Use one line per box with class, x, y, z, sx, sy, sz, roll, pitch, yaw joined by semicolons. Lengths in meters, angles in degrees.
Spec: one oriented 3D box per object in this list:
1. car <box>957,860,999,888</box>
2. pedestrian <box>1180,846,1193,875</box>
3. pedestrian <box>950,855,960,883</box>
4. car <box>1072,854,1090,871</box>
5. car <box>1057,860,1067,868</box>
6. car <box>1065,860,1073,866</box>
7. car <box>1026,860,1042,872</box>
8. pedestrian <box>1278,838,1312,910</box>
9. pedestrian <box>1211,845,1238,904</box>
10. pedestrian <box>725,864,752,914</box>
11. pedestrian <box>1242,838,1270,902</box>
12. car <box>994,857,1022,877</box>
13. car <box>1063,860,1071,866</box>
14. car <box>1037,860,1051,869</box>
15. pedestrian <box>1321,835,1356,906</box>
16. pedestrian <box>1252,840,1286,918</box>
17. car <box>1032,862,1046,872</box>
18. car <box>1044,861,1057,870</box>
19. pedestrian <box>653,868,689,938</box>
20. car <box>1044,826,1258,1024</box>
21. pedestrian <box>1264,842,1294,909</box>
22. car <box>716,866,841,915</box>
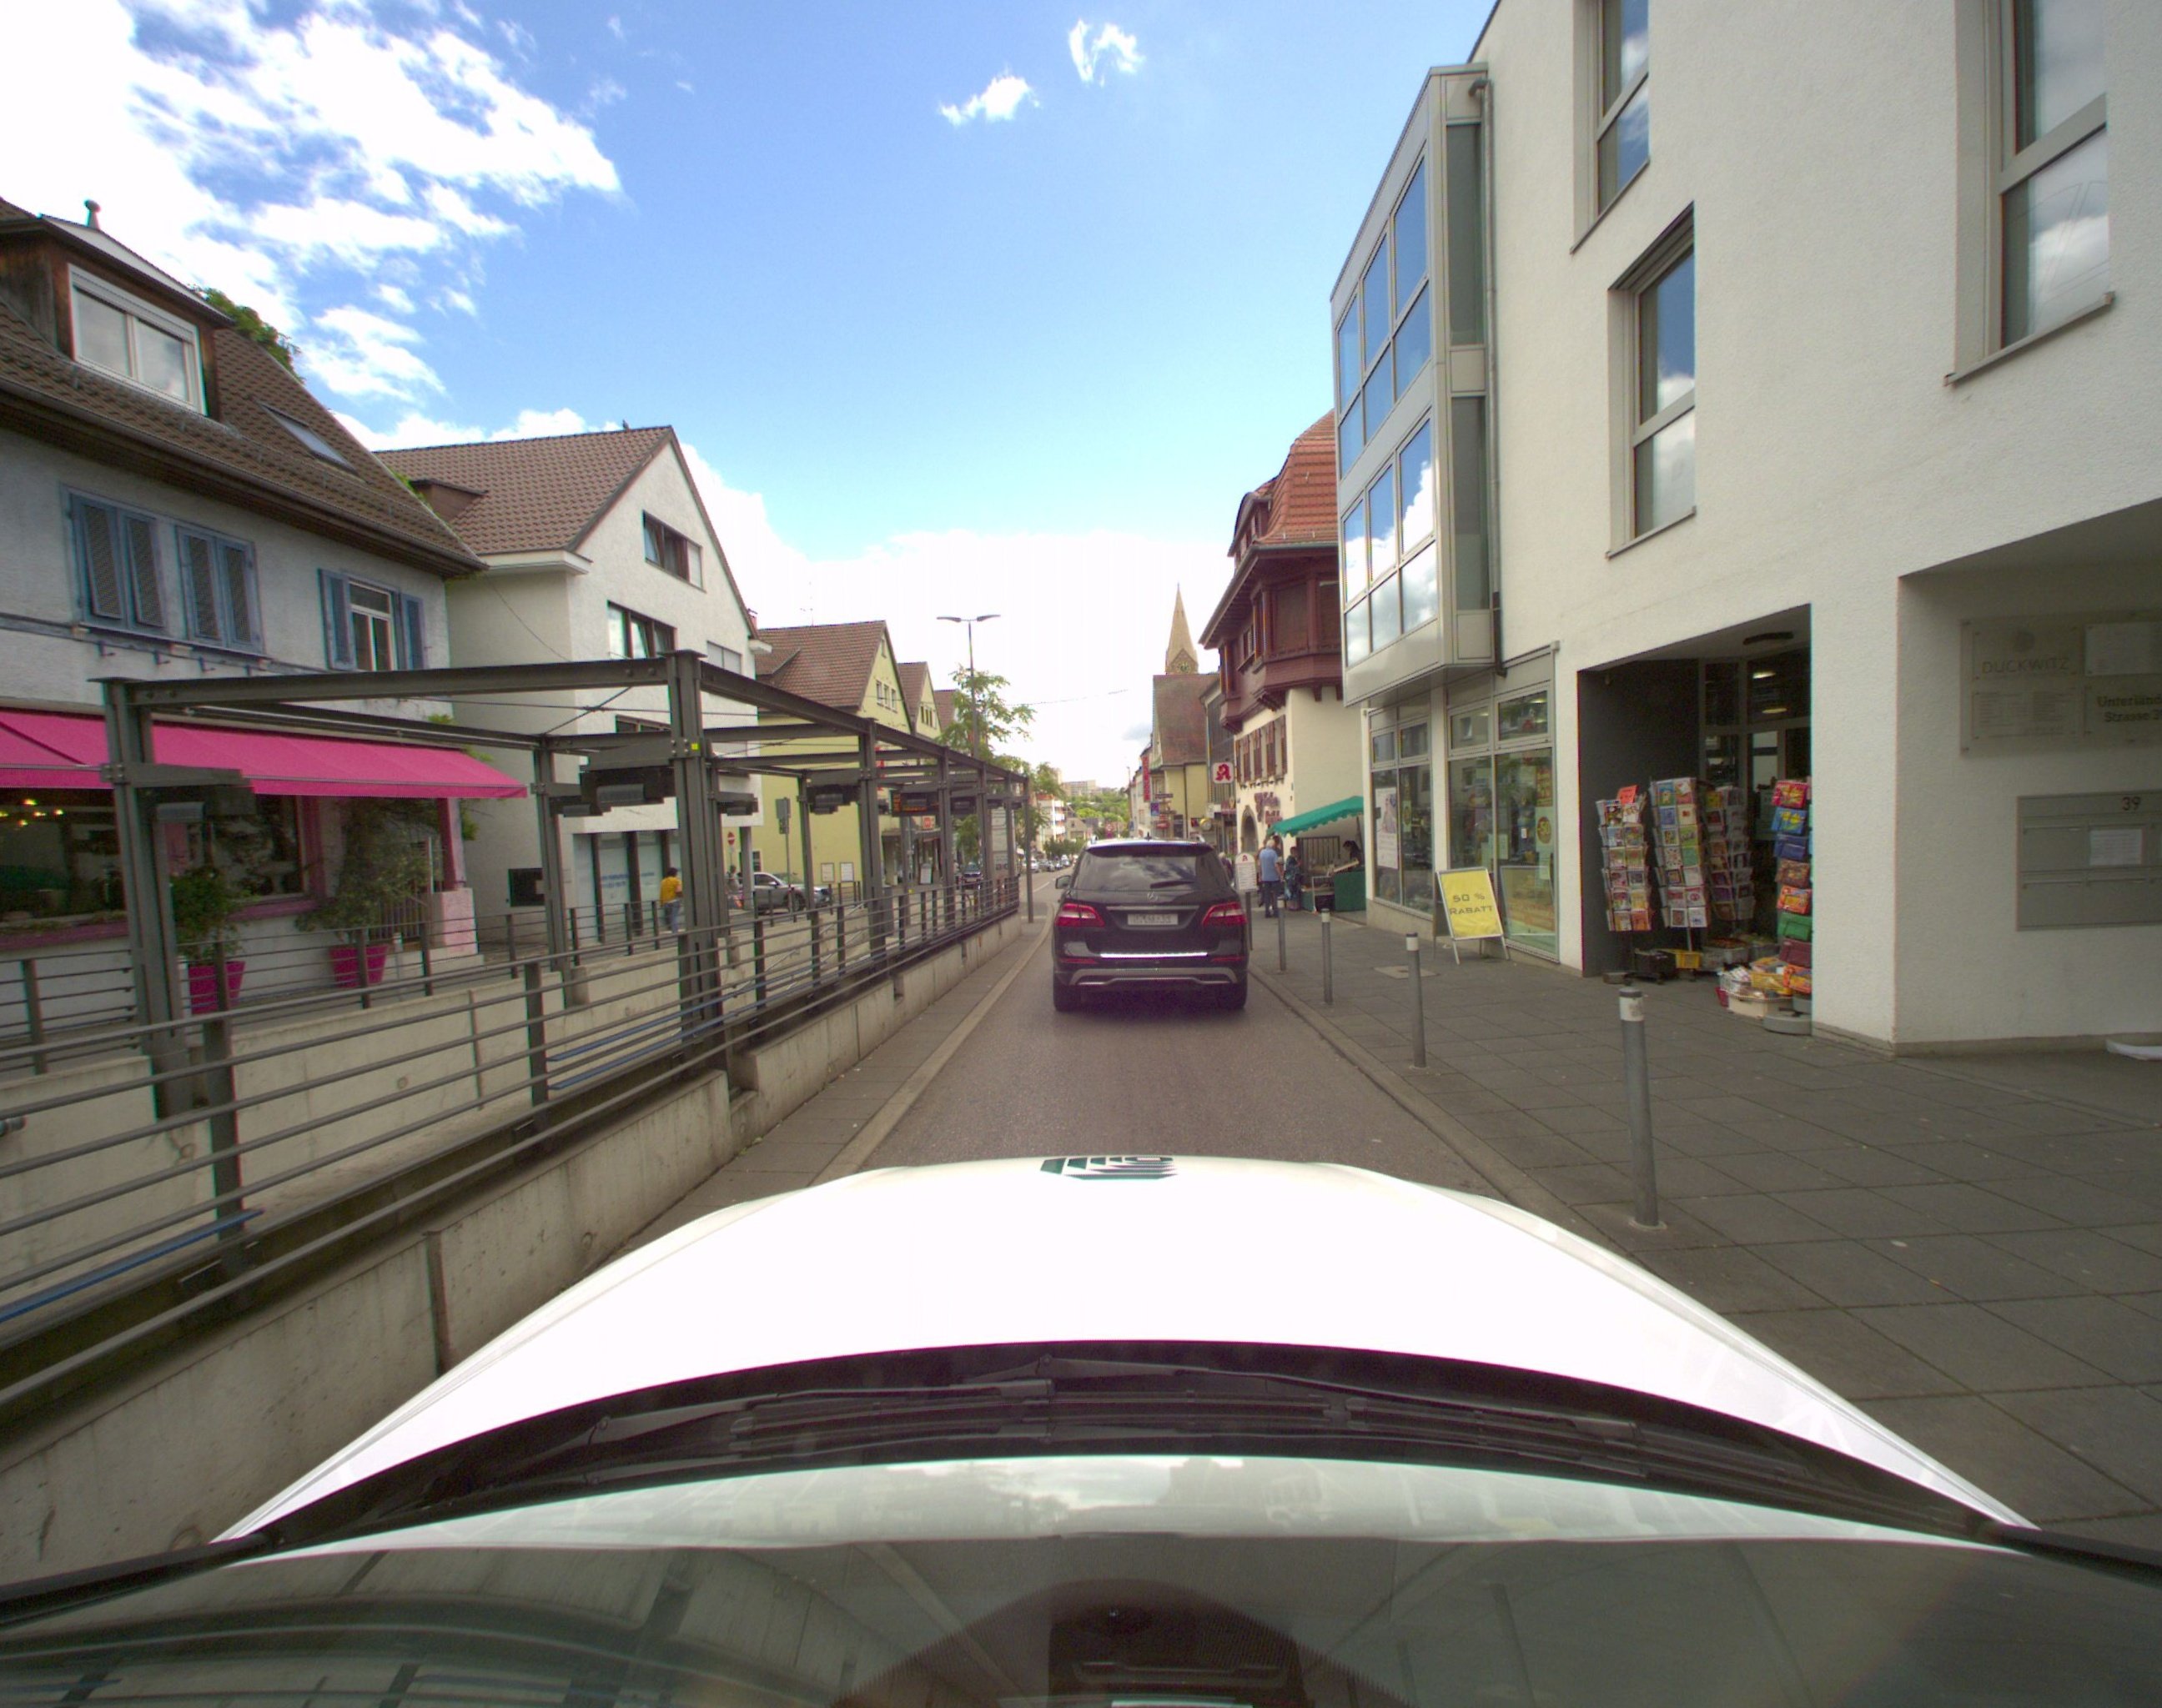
car;-5.671;1.085;45.371;1.683;1.490;3.981;0;0;2
pedestrian;6.180;0.394;47.911;0.604;1.688;0.725;-3;0;1
pedestrian;-7.727;0.900;49.996;0.511;1.689;0.542;0;0;1
car;0.005;0.871;85.836;1.764;1.713;4.001;0;0;2
car;-3.048;1.597;131.611;1.383;1.070;3.114;-3;0;2
car;-2.502;1.768;164.187;1.383;1.070;3.114;-3;0;2
car;-4.917;1.245;85.205;1.383;1.070;3.114;-3;0;2
pedestrian;5.174;0.483;19.710;0.572;1.689;0.565;-3;0;-5
pedestrian;4.156;0.576;23.593;0.620;1.689;0.565;0;0;-5
pedestrian;-11.985;1.217;28.503;0.650;1.689;0.730;0;0;-1
pedestrian;5.060;0.455;23.580;0.637;1.809;0.685;0;0;1
car;-5.602;0.970;62.644;1.654;1.490;3.750;0;0;2
car;-2.686;1.722;158.899;1.383;1.070;3.114;-3;0;2
car;-4.637;1.289;102.408;1.383;1.070;3.114;-3;0;2
pedestrian;6.270;0.397;19.823;0.572;1.689;0.565;-3;0;-5
pedestrian;4.276;0.553;18.512;0.541;1.726;0.527;-3;0;-5
car;-4.990;1.511;96.588;1.383;1.070;3.114;-3;0;2
car;-4.113;1.591;110.394;1.383;1.070;3.114;-3;0;2
pedestrian;-9.991;1.184;19.871;0.576;1.689;0.577;0;0;1
car;0.638;0.632;9.242;1.894;1.747;4.000;0;0;0
pedestrian;5.030;0.544;20.721;0.572;1.689;0.565;0;0;-5
car;-11.549;1.394;31.183;4.149;1.731;1.842;-2;0;15
